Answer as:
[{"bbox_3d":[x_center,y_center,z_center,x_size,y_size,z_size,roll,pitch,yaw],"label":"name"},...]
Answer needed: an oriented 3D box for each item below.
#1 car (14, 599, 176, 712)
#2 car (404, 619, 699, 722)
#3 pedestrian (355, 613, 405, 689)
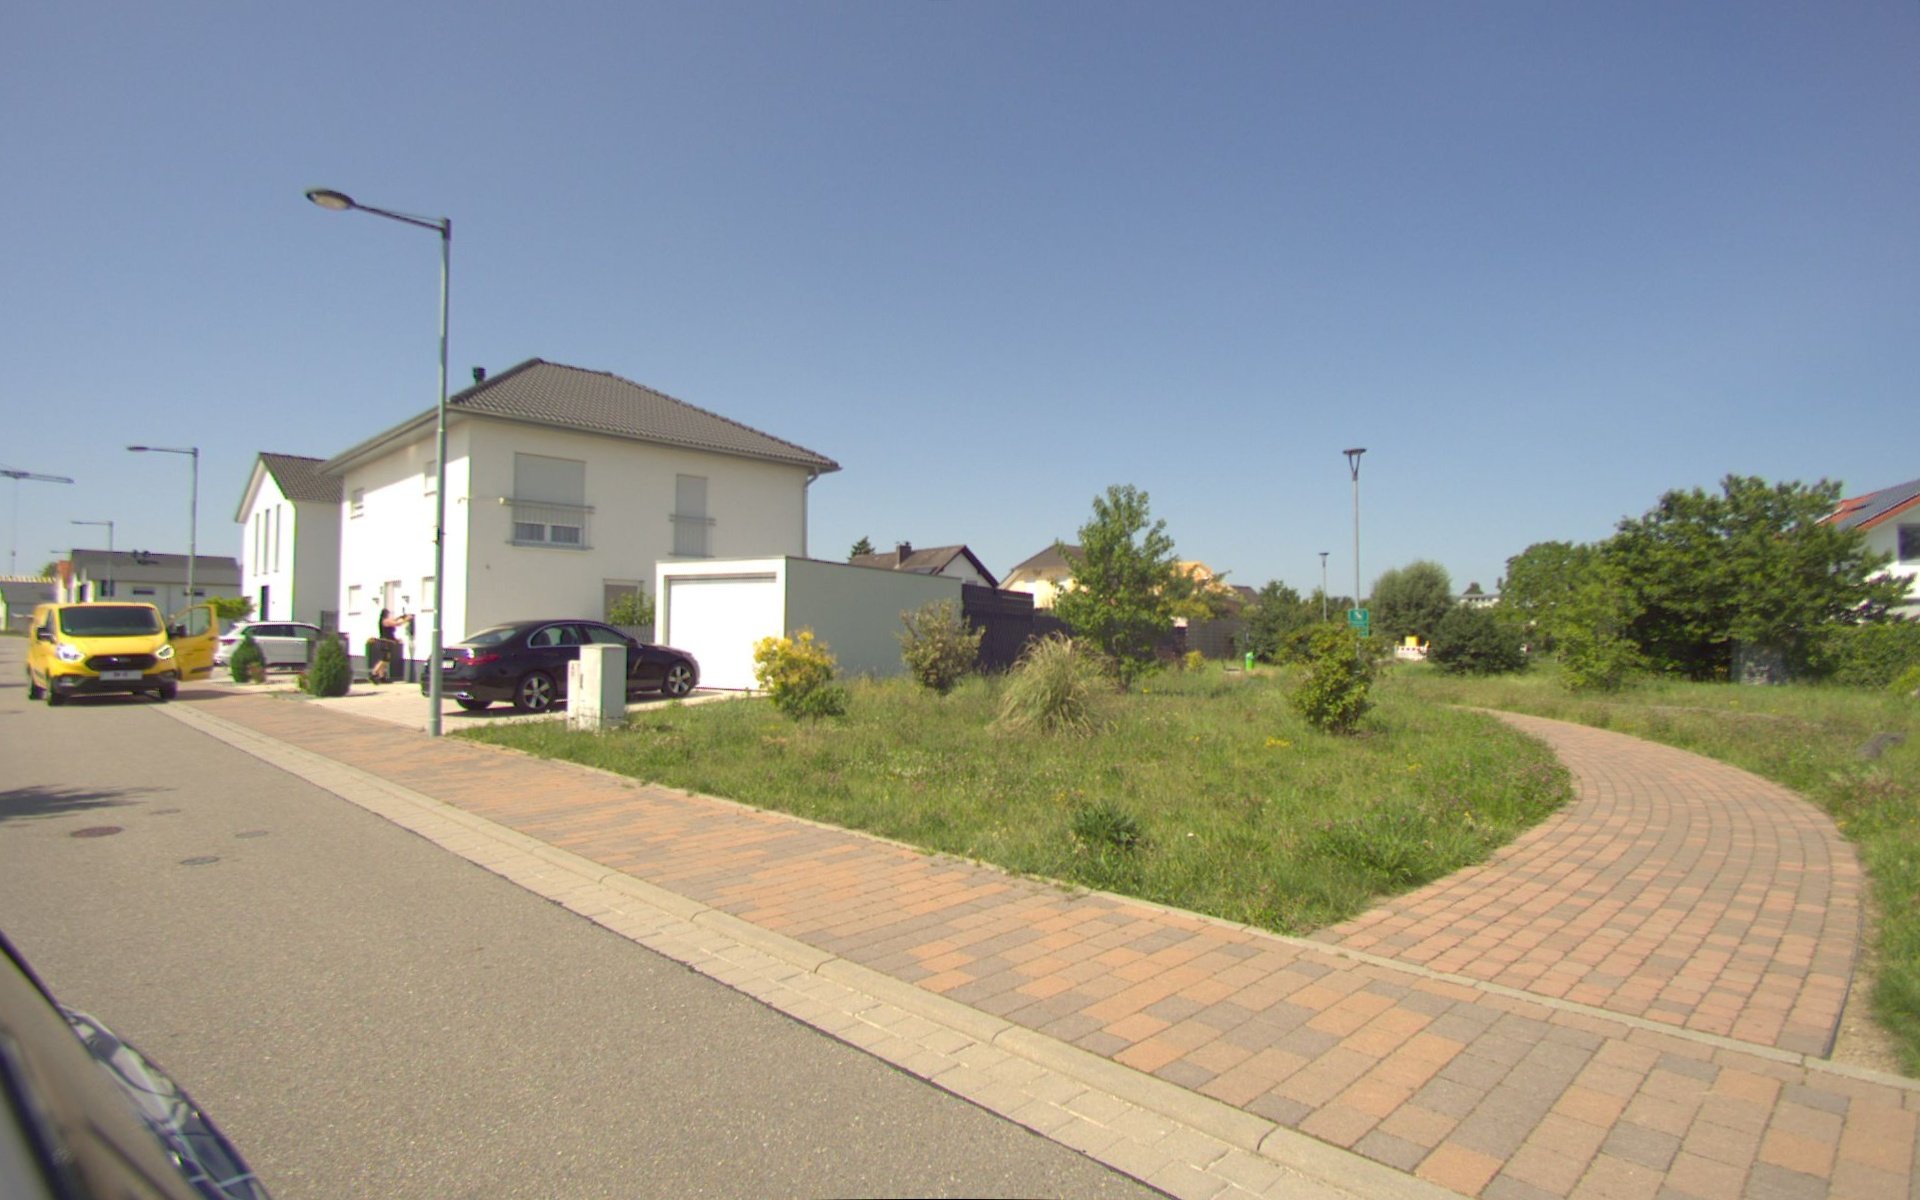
[{"bbox_3d":[-17.615,1.063,20.520,4.839,2.029,1.864,-2,-2,42],"label":"car"},{"bbox_3d":[-6.571,1.053,16.756,1.743,1.463,4.358,-1,-1,32],"label":"car"},{"bbox_3d":[-13.411,1.174,23.403,0.917,1.698,0.538,-1,-1,-35],"label":"pedestrian"}]
